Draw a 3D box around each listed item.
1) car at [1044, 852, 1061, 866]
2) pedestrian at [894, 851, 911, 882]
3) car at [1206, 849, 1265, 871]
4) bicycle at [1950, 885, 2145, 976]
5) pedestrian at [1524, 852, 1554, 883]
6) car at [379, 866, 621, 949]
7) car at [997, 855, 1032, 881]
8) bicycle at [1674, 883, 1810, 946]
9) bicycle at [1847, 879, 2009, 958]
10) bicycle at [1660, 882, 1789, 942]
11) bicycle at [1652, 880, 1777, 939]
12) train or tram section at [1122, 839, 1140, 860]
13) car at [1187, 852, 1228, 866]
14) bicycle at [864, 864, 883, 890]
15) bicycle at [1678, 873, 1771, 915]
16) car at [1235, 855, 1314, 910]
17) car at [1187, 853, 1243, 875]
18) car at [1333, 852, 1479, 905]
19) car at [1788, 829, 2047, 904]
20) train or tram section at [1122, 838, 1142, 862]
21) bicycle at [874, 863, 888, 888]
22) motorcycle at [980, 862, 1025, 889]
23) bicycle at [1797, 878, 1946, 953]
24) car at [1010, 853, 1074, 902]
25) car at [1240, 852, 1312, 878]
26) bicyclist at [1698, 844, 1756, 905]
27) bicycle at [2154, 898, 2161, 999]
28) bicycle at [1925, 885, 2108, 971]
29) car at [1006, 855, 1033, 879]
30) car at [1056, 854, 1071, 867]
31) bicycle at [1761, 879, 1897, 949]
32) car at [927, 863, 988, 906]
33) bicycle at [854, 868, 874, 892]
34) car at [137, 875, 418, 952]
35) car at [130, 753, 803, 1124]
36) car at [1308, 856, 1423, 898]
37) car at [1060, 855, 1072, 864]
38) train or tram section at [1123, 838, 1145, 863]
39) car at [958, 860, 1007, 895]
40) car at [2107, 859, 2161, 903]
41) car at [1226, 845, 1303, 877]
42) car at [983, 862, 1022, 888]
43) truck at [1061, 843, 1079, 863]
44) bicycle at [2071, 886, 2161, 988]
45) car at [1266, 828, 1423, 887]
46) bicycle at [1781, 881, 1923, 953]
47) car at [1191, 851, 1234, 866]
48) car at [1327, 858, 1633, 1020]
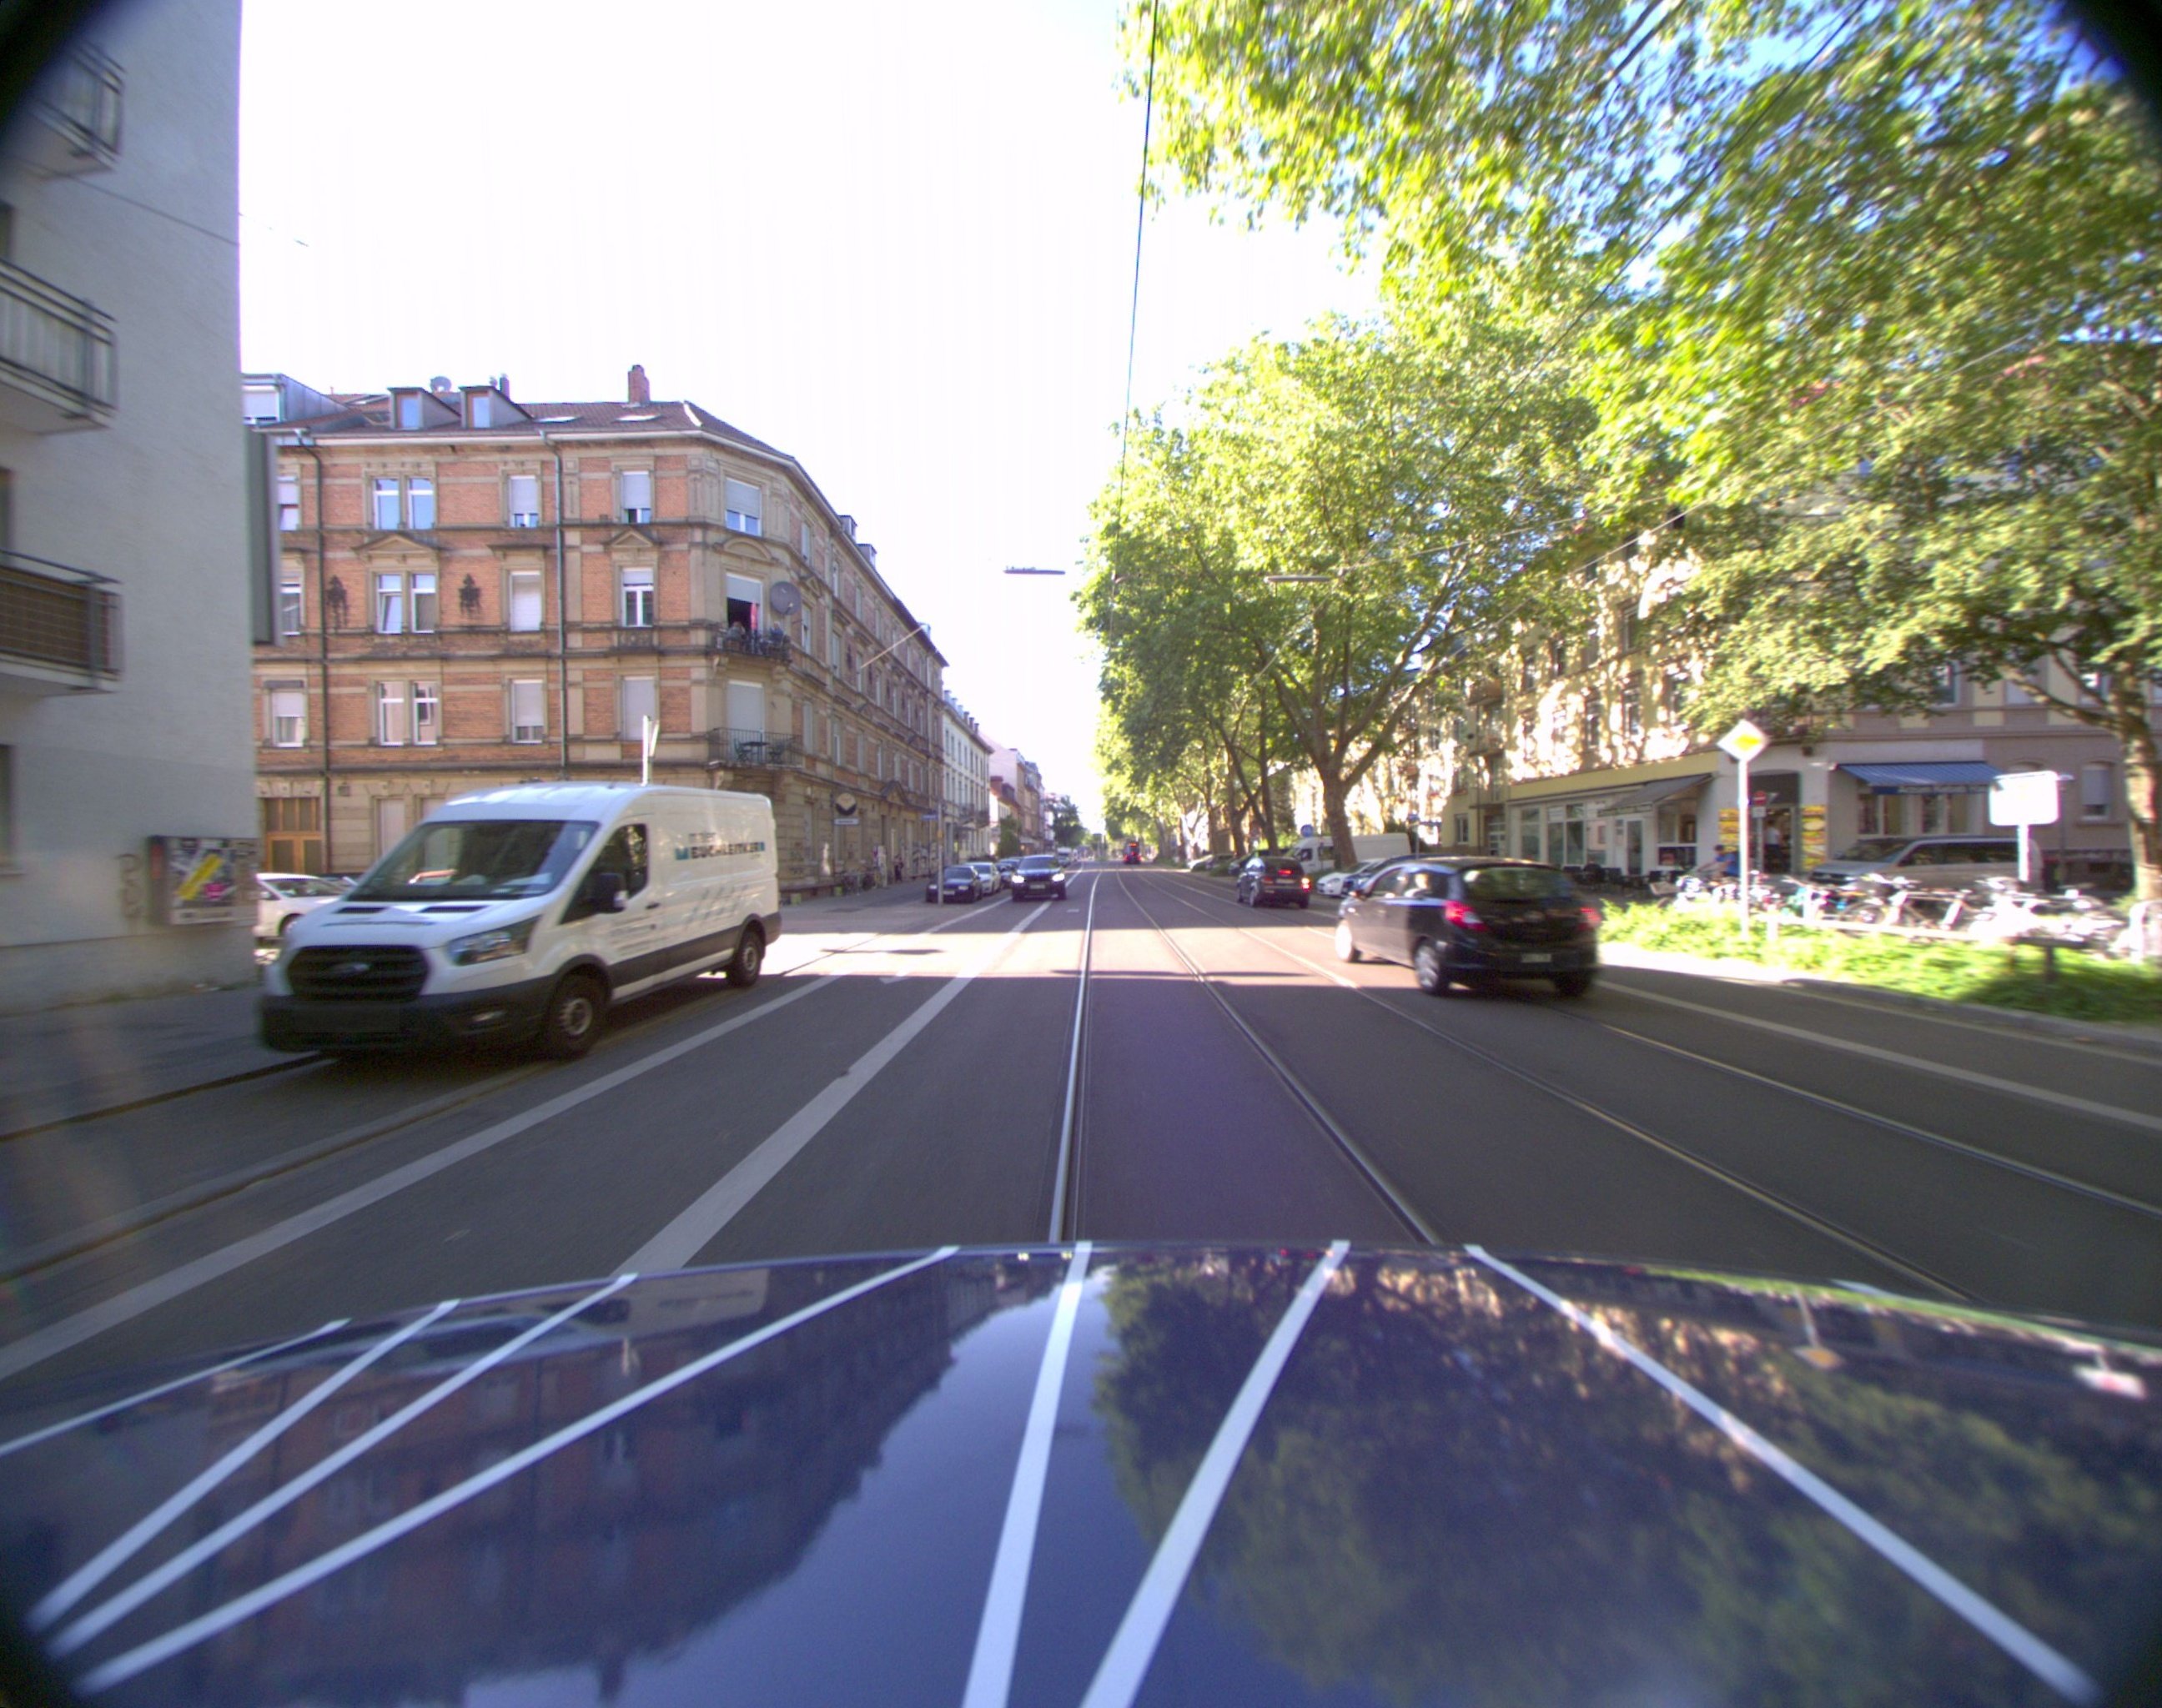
[{"bbox_3d":[-3.230,0.559,86.550,1.702,1.559,3.686,1,0,3],"label":"car"},{"bbox_3d":[-9.735,0.675,41.378,0.716,1.647,0.766,-1,1,1],"label":"pedestrian"},{"bbox_3d":[12.690,0.480,62.602,4.365,1.603,2.000,-3,0,2],"label":"car"},{"bbox_3d":[12.228,0.942,9.658,1.560,1.082,0.397,-1,1,19],"label":"bicycle"},{"bbox_3d":[18.864,0.556,31.313,0.708,1.234,0.930,-1,1,3],"label":"pedestrian"},{"bbox_3d":[-11.974,1.065,15.831,3.659,1.564,1.790,-1,0,1],"label":"car"},{"bbox_3d":[-4.052,0.842,46.691,1.610,1.444,3.741,1,1,3],"label":"car"},{"bbox_3d":[11.947,1.078,13.783,1.858,1.082,0.397,-1,1,19],"label":"bicycle"},{"bbox_3d":[12.192,0.916,10.981,1.560,1.082,0.397,-1,1,19],"label":"bicycle"},{"bbox_3d":[12.211,1.079,14.464,1.858,1.082,0.397,-1,1,19],"label":"bicycle"},{"bbox_3d":[12.353,1.067,14.869,1.858,1.082,0.397,-1,1,19],"label":"bicycle"},{"bbox_3d":[9.103,-0.925,139.742,2.944,3.598,12.411,-3,1,3],"label":"train or tram section"},{"bbox_3d":[13.082,0.523,78.546,3.998,1.367,1.411,-1,1,-2],"label":"car"},{"bbox_3d":[-9.504,1.059,34.853,0.379,1.147,1.373,-1,0,3],"label":"bicycle"},{"bbox_3d":[16.403,1.004,19.394,1.875,1.025,0.628,-1,0,-1],"label":"bicycle"},{"bbox_3d":[5.815,0.812,23.217,1.639,1.501,3.692,0,0,3],"label":"car"},{"bbox_3d":[11.425,0.843,64.958,4.365,1.603,2.000,-3,0,2],"label":"car"},{"bbox_3d":[11.293,0.825,26.582,4.331,1.702,1.816,-1,1,-2],"label":"car"},{"bbox_3d":[23.054,0.312,21.135,4.582,1.870,2.128,-1,3,4],"label":"car"},{"bbox_3d":[8.547,-0.721,127.916,2.944,3.598,11.259,-3,1,3],"label":"train or tram section"},{"bbox_3d":[-9.512,1.036,36.150,0.274,1.147,1.139,-1,1,3],"label":"bicycle"},{"bbox_3d":[-3.950,1.084,38.375,2.143,1.281,0.642,-1,1,-20],"label":"motorcycle"},{"bbox_3d":[11.990,0.921,11.566,1.560,1.082,0.397,-1,1,19],"label":"bicycle"},{"bbox_3d":[-1.419,0.871,29.534,1.948,1.694,4.632,-2,-1,3],"label":"car"},{"bbox_3d":[12.314,0.678,48.172,4.068,1.437,1.869,-3,0,2],"label":"car"},{"bbox_3d":[16.495,0.519,19.418,0.868,1.517,0.736,-1,0,-1],"label":"bicyclist"},{"bbox_3d":[11.849,0.967,7.232,1.802,1.037,0.598,-1,1,29],"label":"bicycle"},{"bbox_3d":[12.408,0.960,10.120,1.560,1.082,0.397,-1,1,19],"label":"bicycle"},{"bbox_3d":[-4.150,0.876,51.320,1.514,1.534,2.821,1,1,2],"label":"car"},{"bbox_3d":[-2.272,0.786,97.840,1.702,1.559,3.686,1,0,3],"label":"car"},{"bbox_3d":[12.218,0.964,12.453,1.560,1.082,0.397,-1,1,19],"label":"bicycle"},{"bbox_3d":[-4.672,1.120,29.253,1.653,1.412,4.059,1,1,0],"label":"car"},{"bbox_3d":[-9.482,1.117,33.202,0.379,0.995,1.373,-1,0,3],"label":"bicycle"},{"bbox_3d":[-16.634,1.204,15.874,4.034,1.447,1.790,-1,1,2],"label":"car"},{"bbox_3d":[-5.263,0.553,8.180,2.154,2.481,6.088,-1,1,1],"label":"car"},{"bbox_3d":[10.880,0.870,29.200,3.779,1.509,1.748,-1,0,-2],"label":"car"},{"bbox_3d":[-2.295,0.811,116.359,1.702,1.324,3.686,1,0,3],"label":"car"},{"bbox_3d":[8.030,-0.557,116.764,2.944,3.598,11.062,-3,1,3],"label":"train or tram section"},{"bbox_3d":[-4.408,1.033,34.501,1.606,1.412,4.013,1,1,2],"label":"car"},{"bbox_3d":[31.209,0.732,20.940,3.395,1.171,1.757,-1,0,2],"label":"car"},{"bbox_3d":[12.207,0.439,50.822,4.639,1.896,1.922,-3,0,0],"label":"car"},{"bbox_3d":[-4.187,1.116,41.154,1.653,1.265,3.724,1,1,1],"label":"car"},{"bbox_3d":[-1.877,-0.214,131.581,2.842,3.145,7.292,-3,1,1],"label":"truck"},{"bbox_3d":[12.468,0.909,8.350,1.920,1.082,0.598,-1,1,19],"label":"bicycle"},{"bbox_3d":[12.303,0.158,35.807,6.618,2.393,2.000,-3,0,2],"label":"car"},{"bbox_3d":[12.132,0.973,11.993,1.560,1.082,0.397,-1,1,19],"label":"bicycle"},{"bbox_3d":[13.099,0.418,75.975,3.998,1.422,1.601,-1,1,-2],"label":"car"},{"bbox_3d":[4.412,0.819,9.104,1.722,1.501,3.722,-1,0,0],"label":"car"}]
